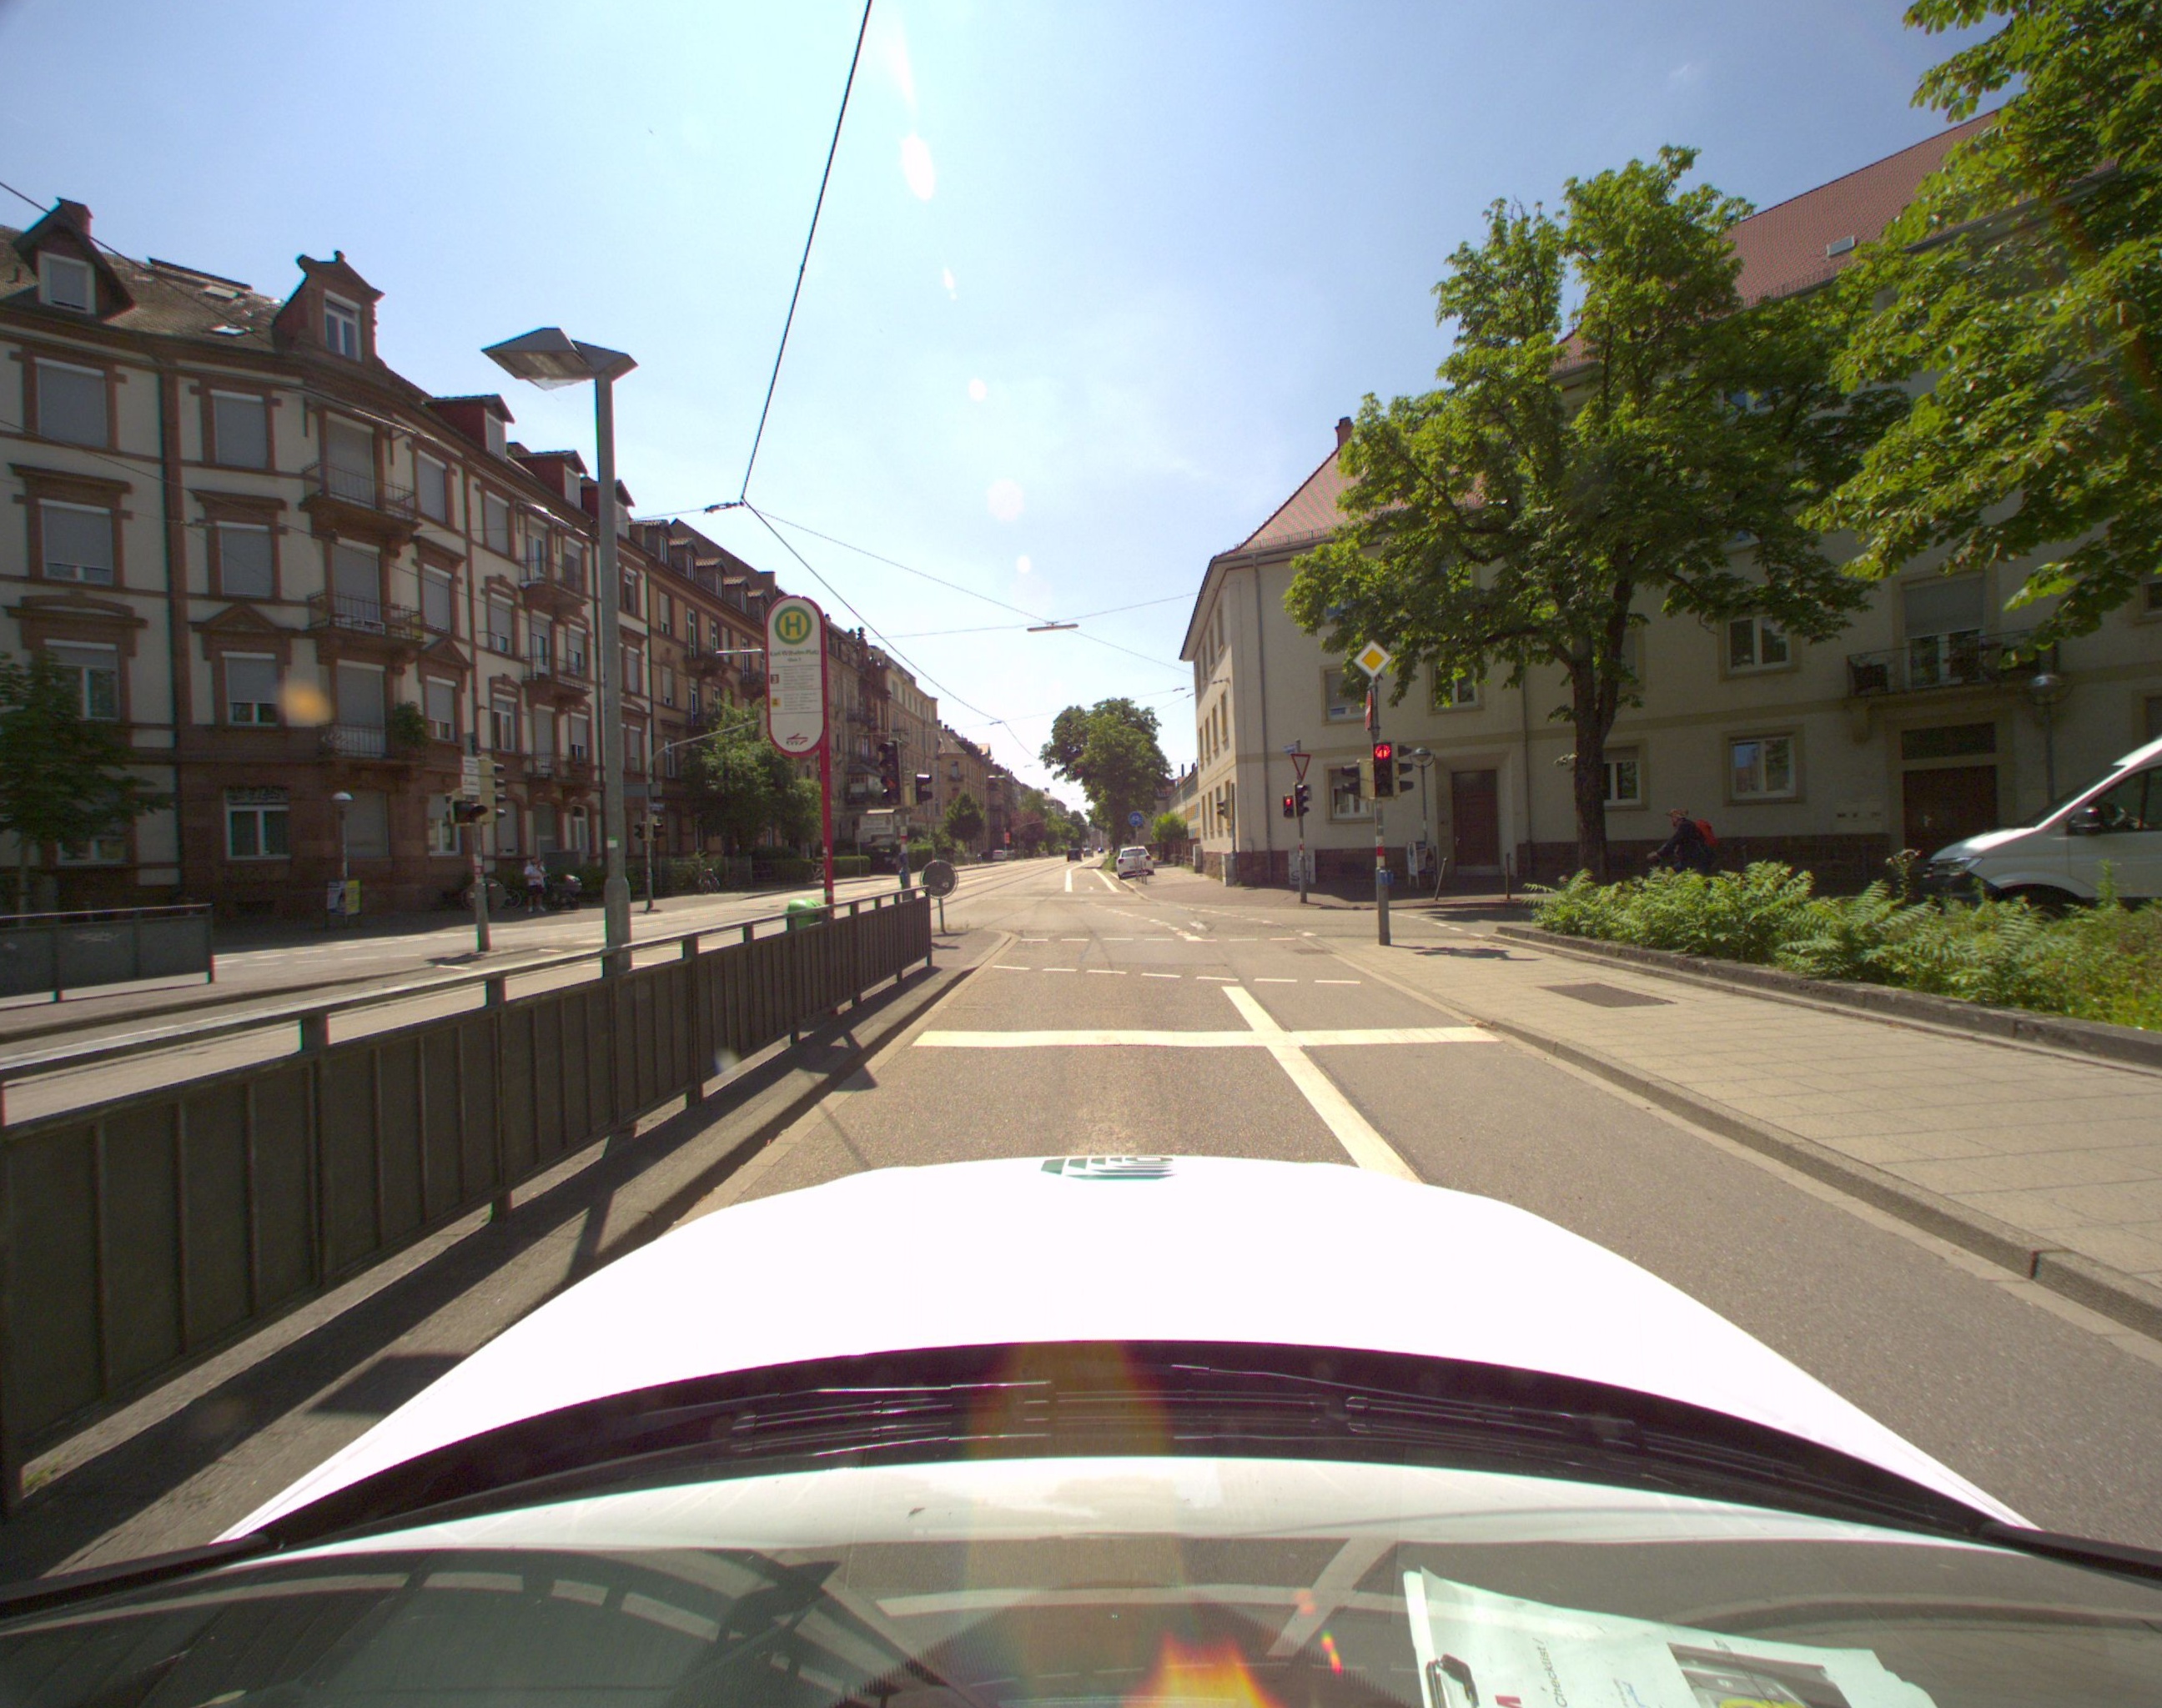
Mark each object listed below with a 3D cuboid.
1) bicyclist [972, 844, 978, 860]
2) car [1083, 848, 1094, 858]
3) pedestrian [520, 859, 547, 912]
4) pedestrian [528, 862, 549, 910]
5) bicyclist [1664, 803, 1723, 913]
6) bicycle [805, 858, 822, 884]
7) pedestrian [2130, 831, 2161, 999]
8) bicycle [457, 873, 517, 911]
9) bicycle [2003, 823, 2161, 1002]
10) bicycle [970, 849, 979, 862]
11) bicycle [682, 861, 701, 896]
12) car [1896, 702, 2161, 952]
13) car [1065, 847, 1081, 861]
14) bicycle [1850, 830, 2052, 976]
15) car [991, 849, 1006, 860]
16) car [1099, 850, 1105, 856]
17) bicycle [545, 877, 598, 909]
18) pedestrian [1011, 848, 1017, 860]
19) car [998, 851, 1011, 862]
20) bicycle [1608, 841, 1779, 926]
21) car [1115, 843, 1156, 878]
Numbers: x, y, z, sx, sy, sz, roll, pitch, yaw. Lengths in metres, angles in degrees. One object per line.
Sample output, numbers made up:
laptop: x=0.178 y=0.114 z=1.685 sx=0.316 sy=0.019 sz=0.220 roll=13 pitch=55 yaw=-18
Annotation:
bicyclist: x=-11.616 y=-0.184 z=89.053 sx=0.540 sy=1.763 sz=0.498 roll=-1 pitch=0 yaw=1
car: x=1.304 y=-0.195 z=137.506 sx=1.741 sy=1.472 sz=3.939 roll=-5 pitch=0 yaw=1
pedestrian: x=-17.245 y=0.996 z=25.652 sx=0.657 sy=1.614 sz=0.464 roll=-1 pitch=2 yaw=-40
pedestrian: x=-17.551 y=1.039 z=26.350 sx=0.510 sy=1.516 sz=0.464 roll=-1 pitch=0 yaw=-40
bicyclist: x=9.480 y=0.066 z=12.628 sx=0.687 sy=1.646 sz=0.584 roll=-2 pitch=0 yaw=35
bicycle: x=-14.290 y=0.882 z=43.532 sx=0.594 sy=1.356 sz=2.421 roll=-1 pitch=0 yaw=-24
pedestrian: x=8.387 y=0.460 z=6.183 sx=0.365 sy=1.284 sz=0.350 roll=-1 pitch=0 yaw=1
bicycle: x=-19.281 y=1.223 z=26.468 sx=1.522 sy=1.169 sz=0.362 roll=-1 pitch=1 yaw=-25
bicycle: x=8.385 y=0.441 z=6.343 sx=0.351 sy=1.360 sz=1.836 roll=-1 pitch=0 yaw=2
bicycle: x=-11.606 y=0.212 z=89.121 sx=0.575 sy=1.388 sz=2.502 roll=-1 pitch=0 yaw=2
bicycle: x=-16.004 y=0.994 z=33.492 sx=0.617 sy=1.395 sz=2.289 roll=-1 pitch=0 yaw=-24
car: x=12.567 y=-0.305 z=8.299 sx=2.009 sy=2.590 sz=5.784 roll=-1 pitch=0 yaw=-37
car: x=-0.901 y=-0.024 z=93.454 sx=1.519 sy=1.444 sz=3.367 roll=-3 pitch=0 yaw=2
bicycle: x=7.389 y=0.396 z=6.994 sx=0.331 sy=1.127 sz=1.287 roll=-1 pitch=-2 yaw=2
car: x=-11.974 y=0.107 z=118.433 sx=1.679 sy=1.472 sz=3.937 roll=-5 pitch=0 yaw=0
car: x=5.873 y=-0.194 z=227.580 sx=1.623 sy=1.472 sz=3.563 roll=-5 pitch=0 yaw=0
bicycle: x=-16.582 y=1.267 z=26.509 sx=1.410 sy=1.013 sz=0.384 roll=1 pitch=-2 yaw=-39
pedestrian: x=-9.592 y=-0.053 z=116.764 sx=0.675 sy=1.727 sz=0.678 roll=-1 pitch=0 yaw=1
car: x=-11.955 y=0.423 z=126.976 sx=1.623 sy=1.472 sz=3.563 roll=-5 pitch=0 yaw=0
bicycle: x=9.439 y=0.441 z=12.653 sx=2.060 sy=1.236 sz=0.584 roll=-1 pitch=0 yaw=35
car: x=2.628 y=0.298 z=39.778 sx=1.741 sy=1.472 sz=3.939 roll=-5 pitch=0 yaw=1
